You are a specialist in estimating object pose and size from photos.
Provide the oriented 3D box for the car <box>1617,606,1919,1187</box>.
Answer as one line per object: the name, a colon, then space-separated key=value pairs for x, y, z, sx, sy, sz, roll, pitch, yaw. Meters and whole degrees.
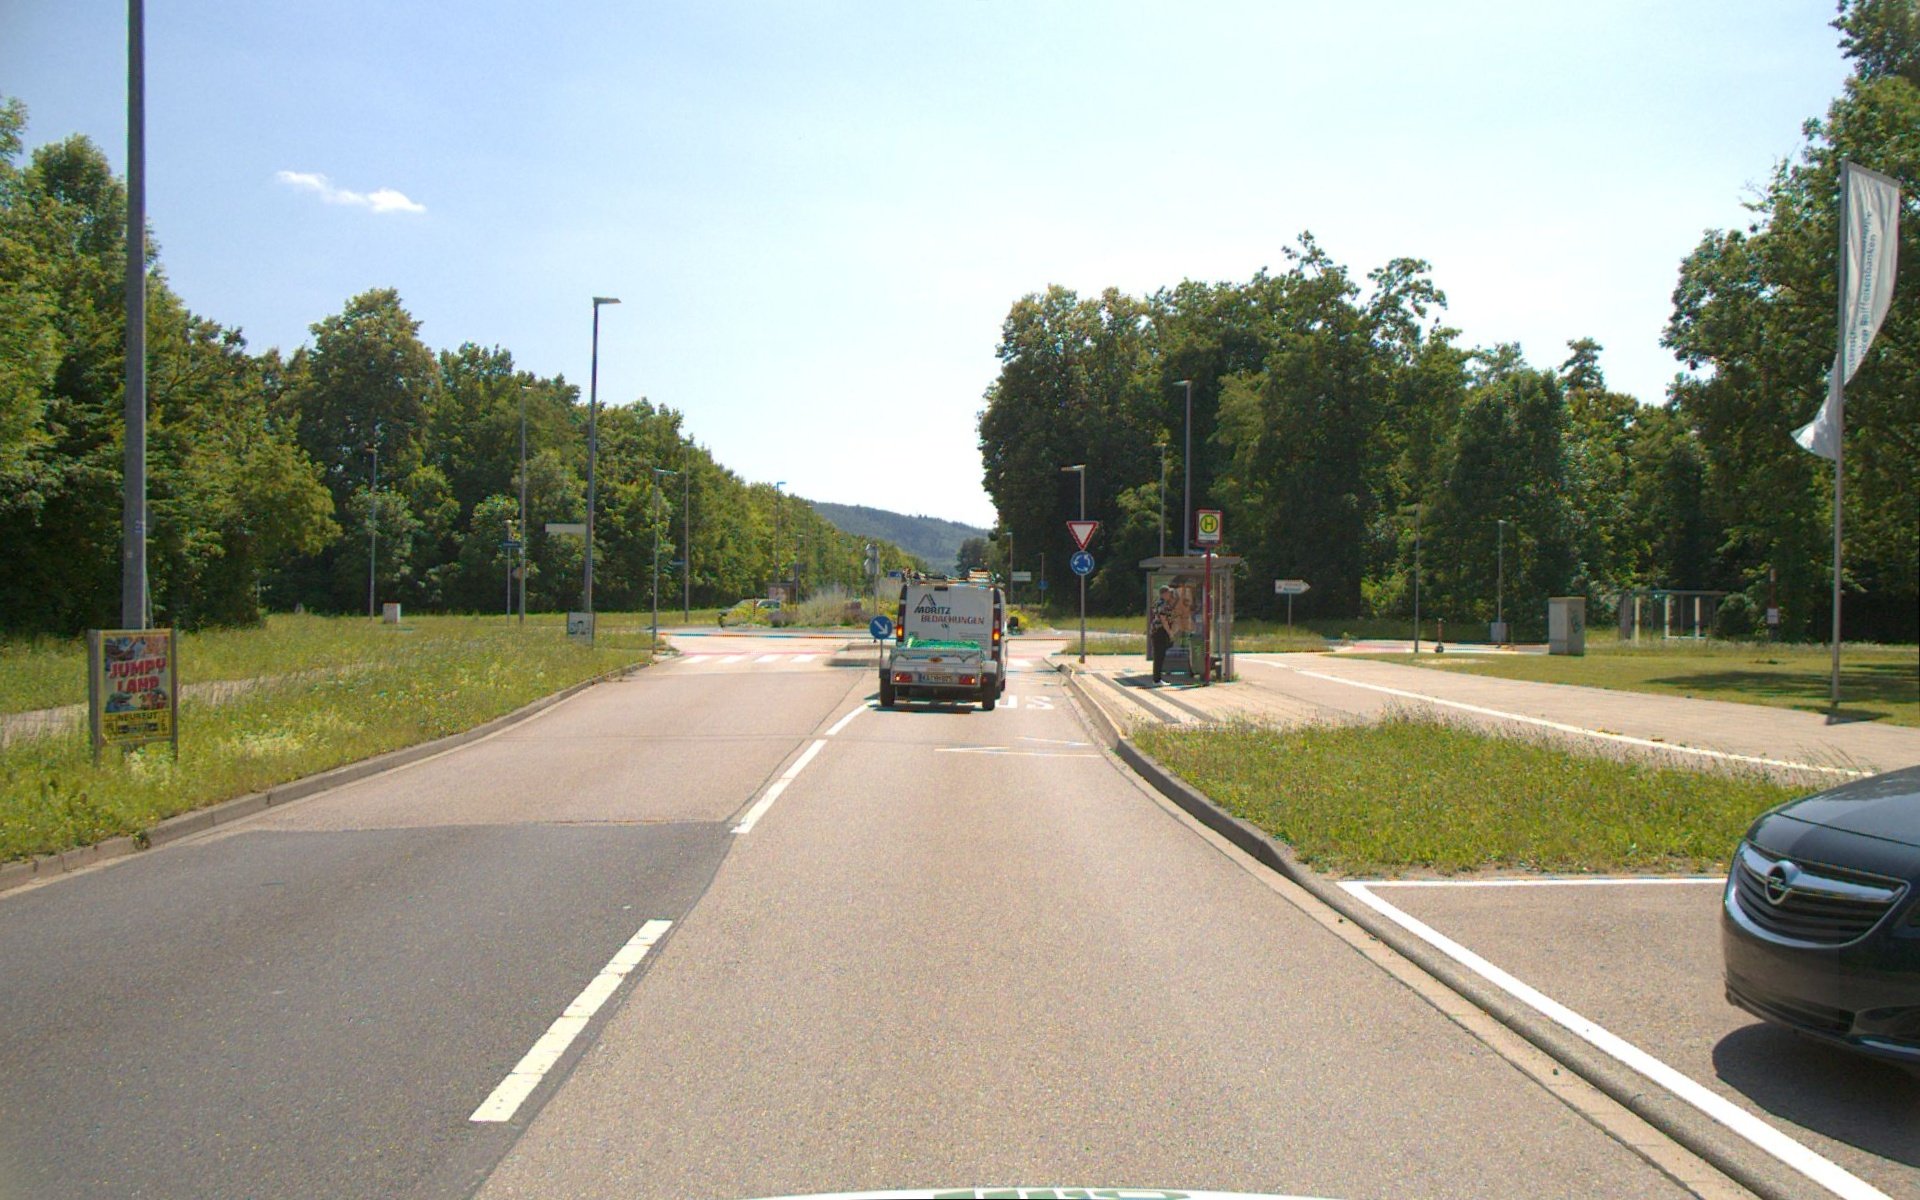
car: x=4.637 y=0.712 z=5.100 sx=4.475 sy=1.457 sz=1.827 roll=-1 pitch=-1 yaw=-2

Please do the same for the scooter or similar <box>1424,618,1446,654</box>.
scooter or similar: x=16.363 y=1.229 z=56.950 sx=0.438 sy=1.222 sz=1.397 roll=1 pitch=-1 yaw=27

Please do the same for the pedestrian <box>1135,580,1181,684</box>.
pedestrian: x=3.625 y=0.580 z=30.309 sx=0.693 sy=1.854 sz=0.826 roll=-1 pitch=-1 yaw=0

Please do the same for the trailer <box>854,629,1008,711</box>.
trailer: x=-0.380 y=1.063 z=26.037 sx=2.077 sy=1.116 sz=3.356 roll=2 pitch=0 yaw=4

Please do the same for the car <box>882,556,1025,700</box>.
car: x=-0.014 y=0.488 z=30.240 sx=2.120 sy=2.357 sz=4.984 roll=2 pitch=-1 yaw=5
